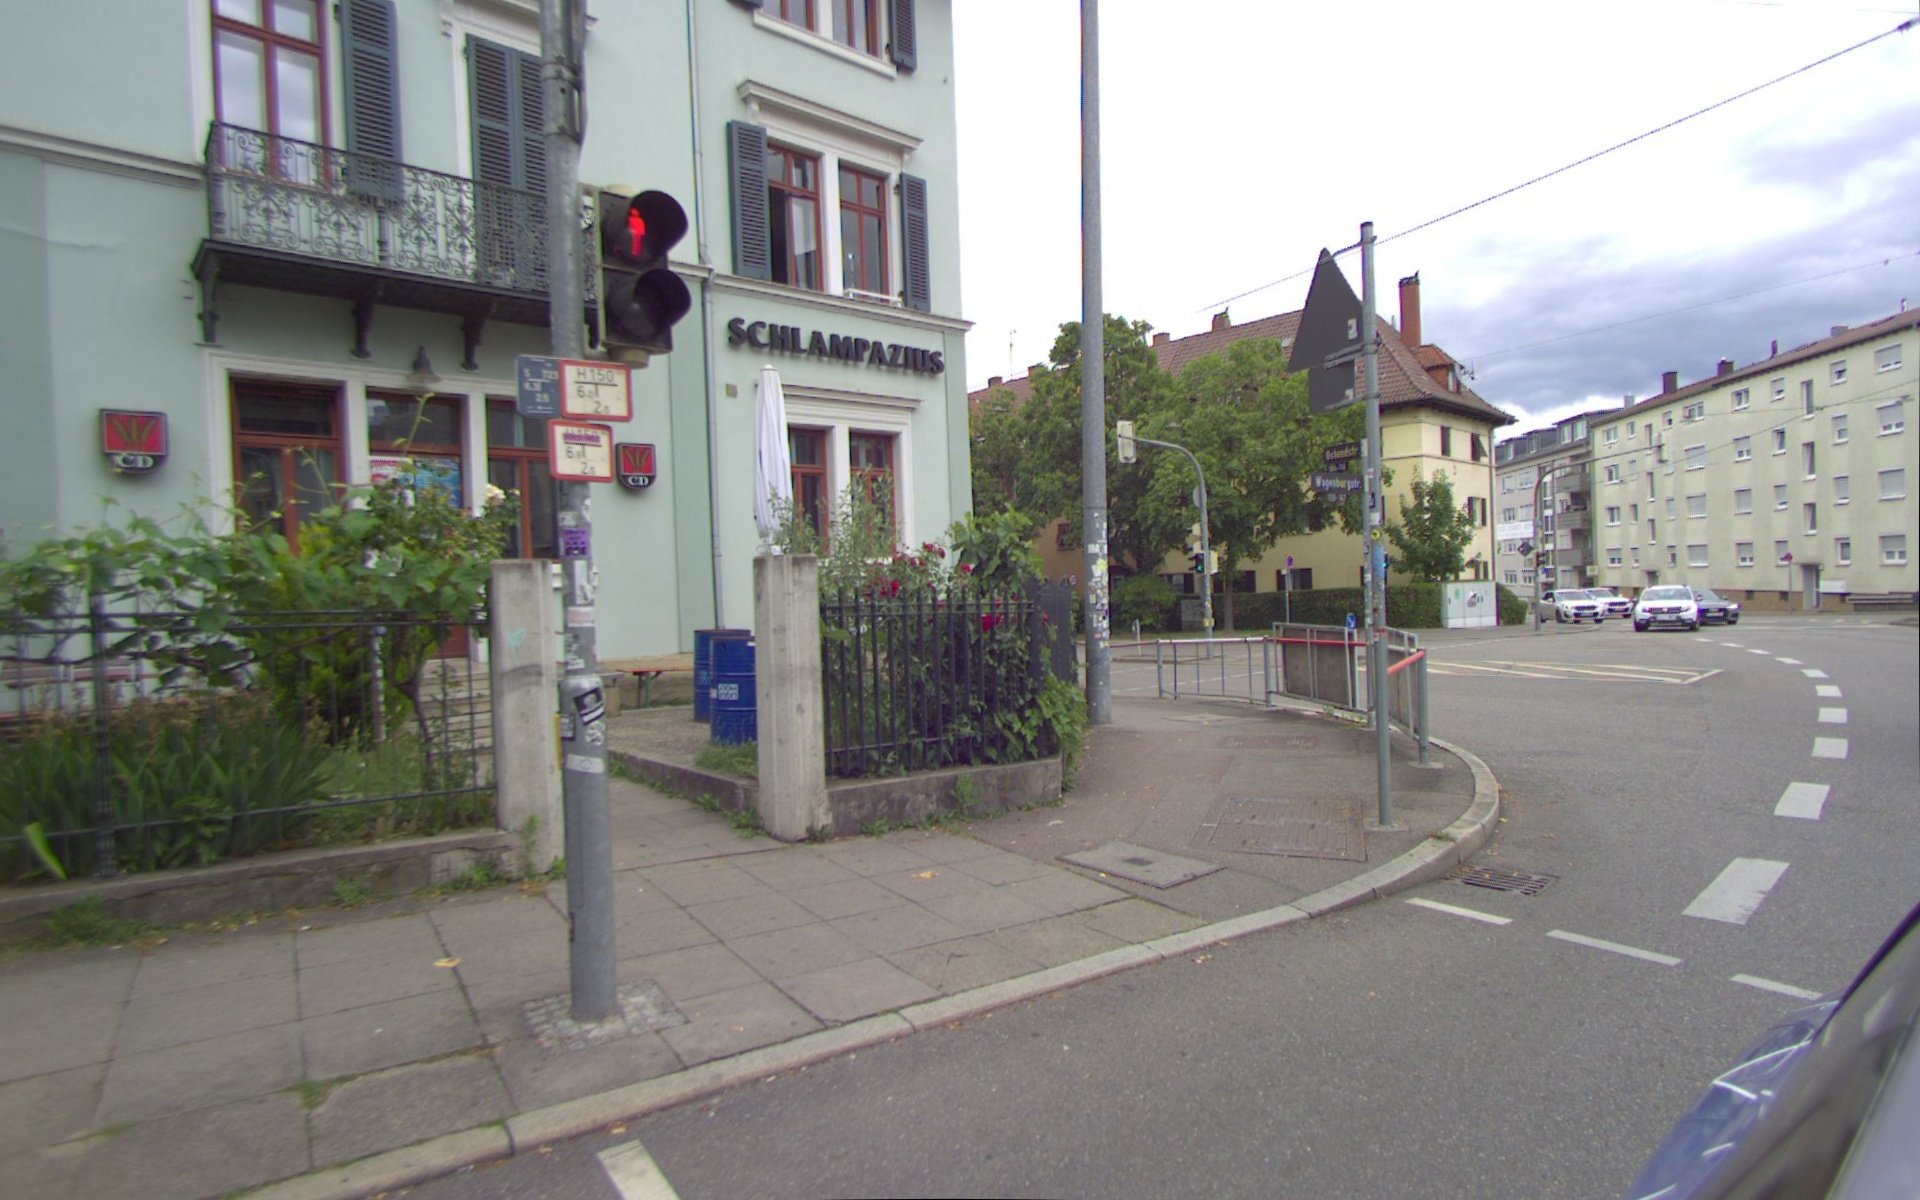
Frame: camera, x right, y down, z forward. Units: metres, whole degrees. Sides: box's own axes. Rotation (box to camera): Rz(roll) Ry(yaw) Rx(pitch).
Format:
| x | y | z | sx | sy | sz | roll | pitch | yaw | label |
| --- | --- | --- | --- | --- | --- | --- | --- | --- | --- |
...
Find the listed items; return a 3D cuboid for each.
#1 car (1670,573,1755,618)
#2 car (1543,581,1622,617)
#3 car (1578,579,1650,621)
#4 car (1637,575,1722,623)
| x | y | z | sx | sy | sz | roll | pitch | yaw | label |
| --- | --- | --- | --- | --- | --- | --- | --- | --- | --- |
| 28.288 | -0.149 | 38.156 | 2.021 | 1.570 | 3.993 | -1 | -1 | 29 | car |
| 29.082 | -0.031 | 47.421 | 1.925 | 1.570 | 4.019 | -1 | -1 | 13 | car |
| 34.165 | -0.025 | 53.018 | 1.972 | 2.039 | 4.248 | -2 | 1 | 17 | car |
| 24.099 | -0.016 | 33.834 | 1.901 | 1.498 | 3.829 | -2 | -1 | 41 | car |
